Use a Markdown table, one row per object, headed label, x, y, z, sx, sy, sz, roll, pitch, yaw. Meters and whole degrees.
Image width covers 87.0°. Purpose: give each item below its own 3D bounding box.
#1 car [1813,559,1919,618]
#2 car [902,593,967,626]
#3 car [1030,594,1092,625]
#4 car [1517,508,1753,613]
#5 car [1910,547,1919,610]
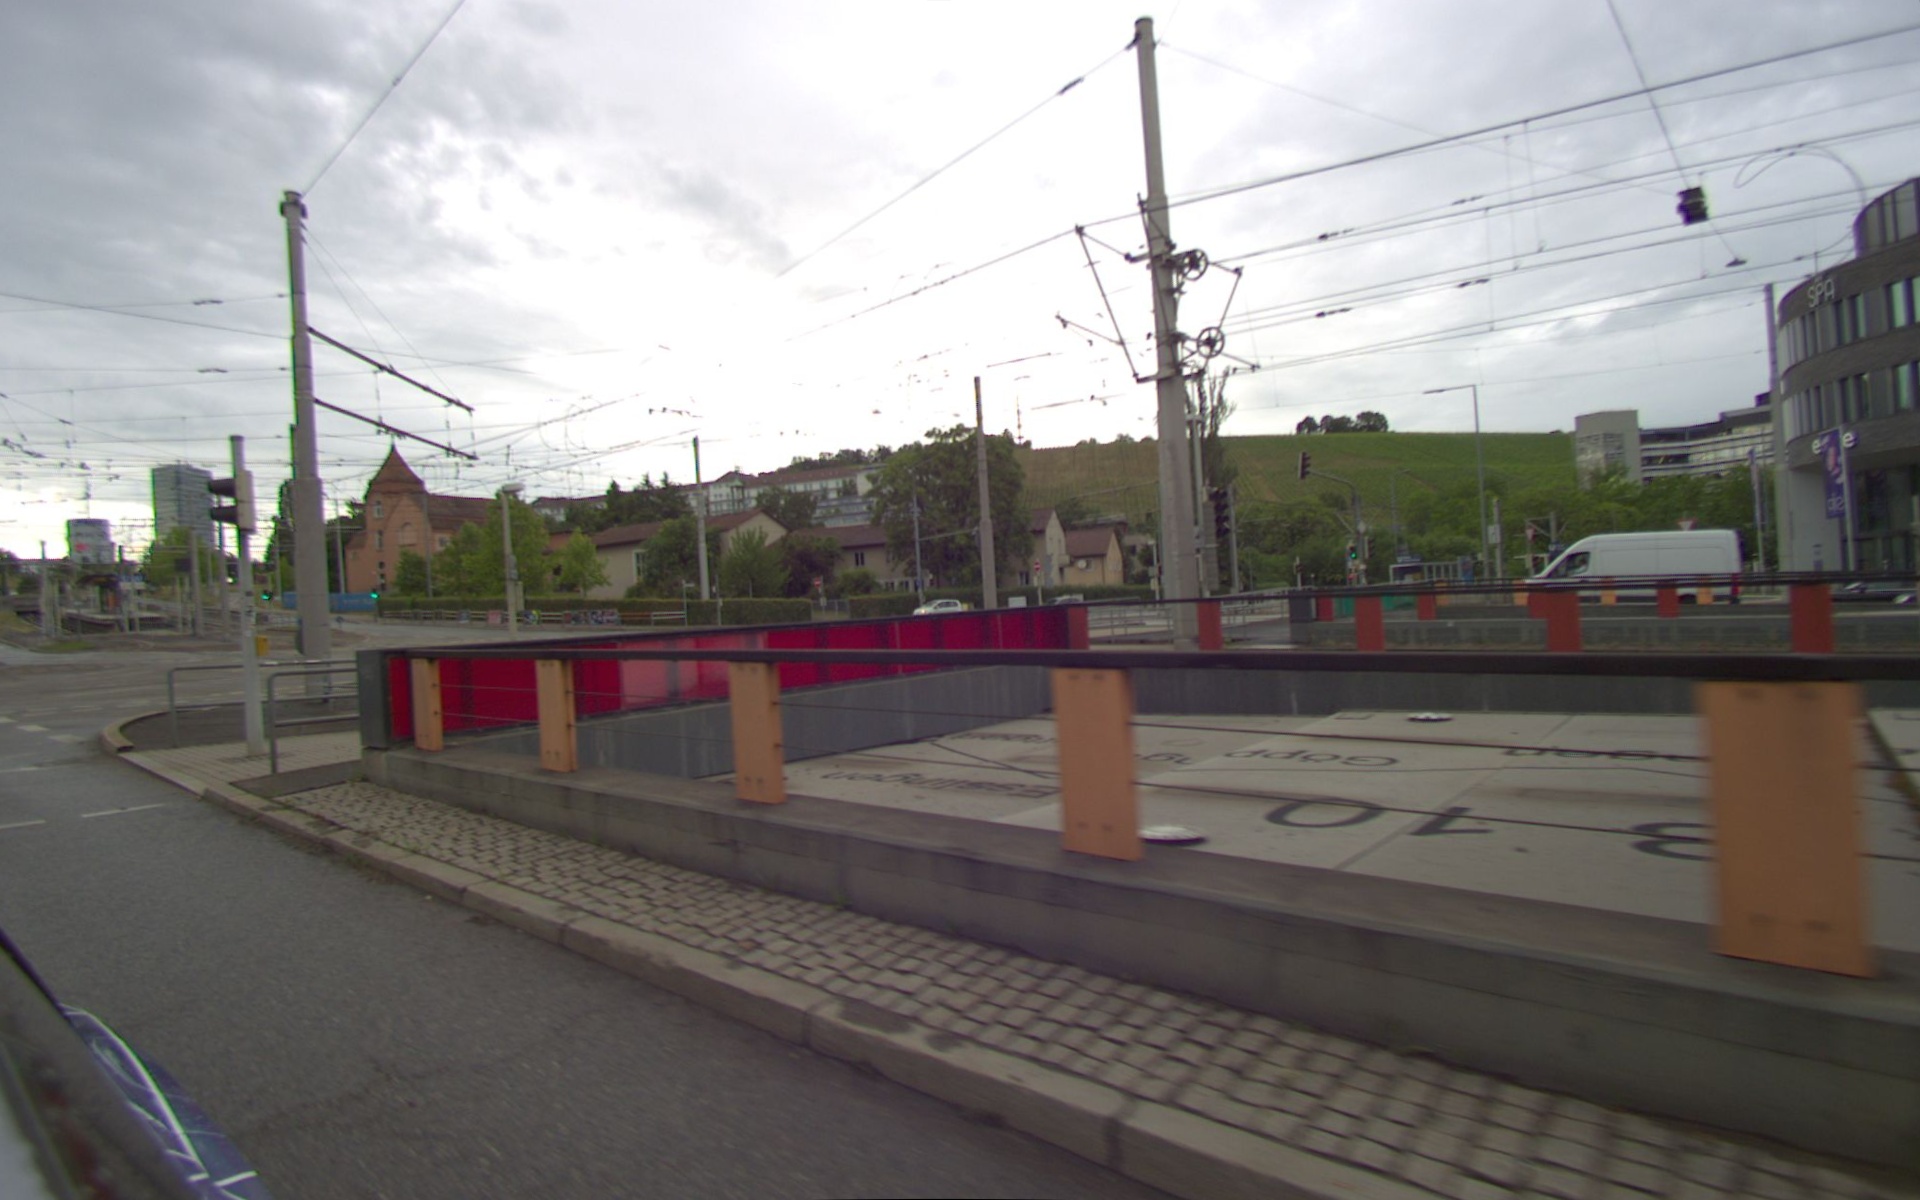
| label | x | y | z | sx | sy | sz | roll | pitch | yaw |
| --- | --- | --- | --- | --- | --- | --- | --- | --- | --- |
| car | 26.957 | -0.348 | 28.939 | 3.829 | 1.596 | 1.807 | 3 | 3 | 40 |
| car | -1.705 | 0.631 | 68.471 | 3.935 | 2.028 | 2.004 | -1 | 3 | -38 |
| car | 6.968 | 0.635 | 69.629 | 3.936 | 2.029 | 2.004 | -1 | 0 | -38 |
| car | 19.998 | -1.052 | 30.166 | 5.710 | 2.853 | 1.974 | 0 | -1 | 39 |
| car | 26.546 | -0.491 | 25.352 | 3.829 | 1.596 | 1.807 | 3 | 3 | 40 |
